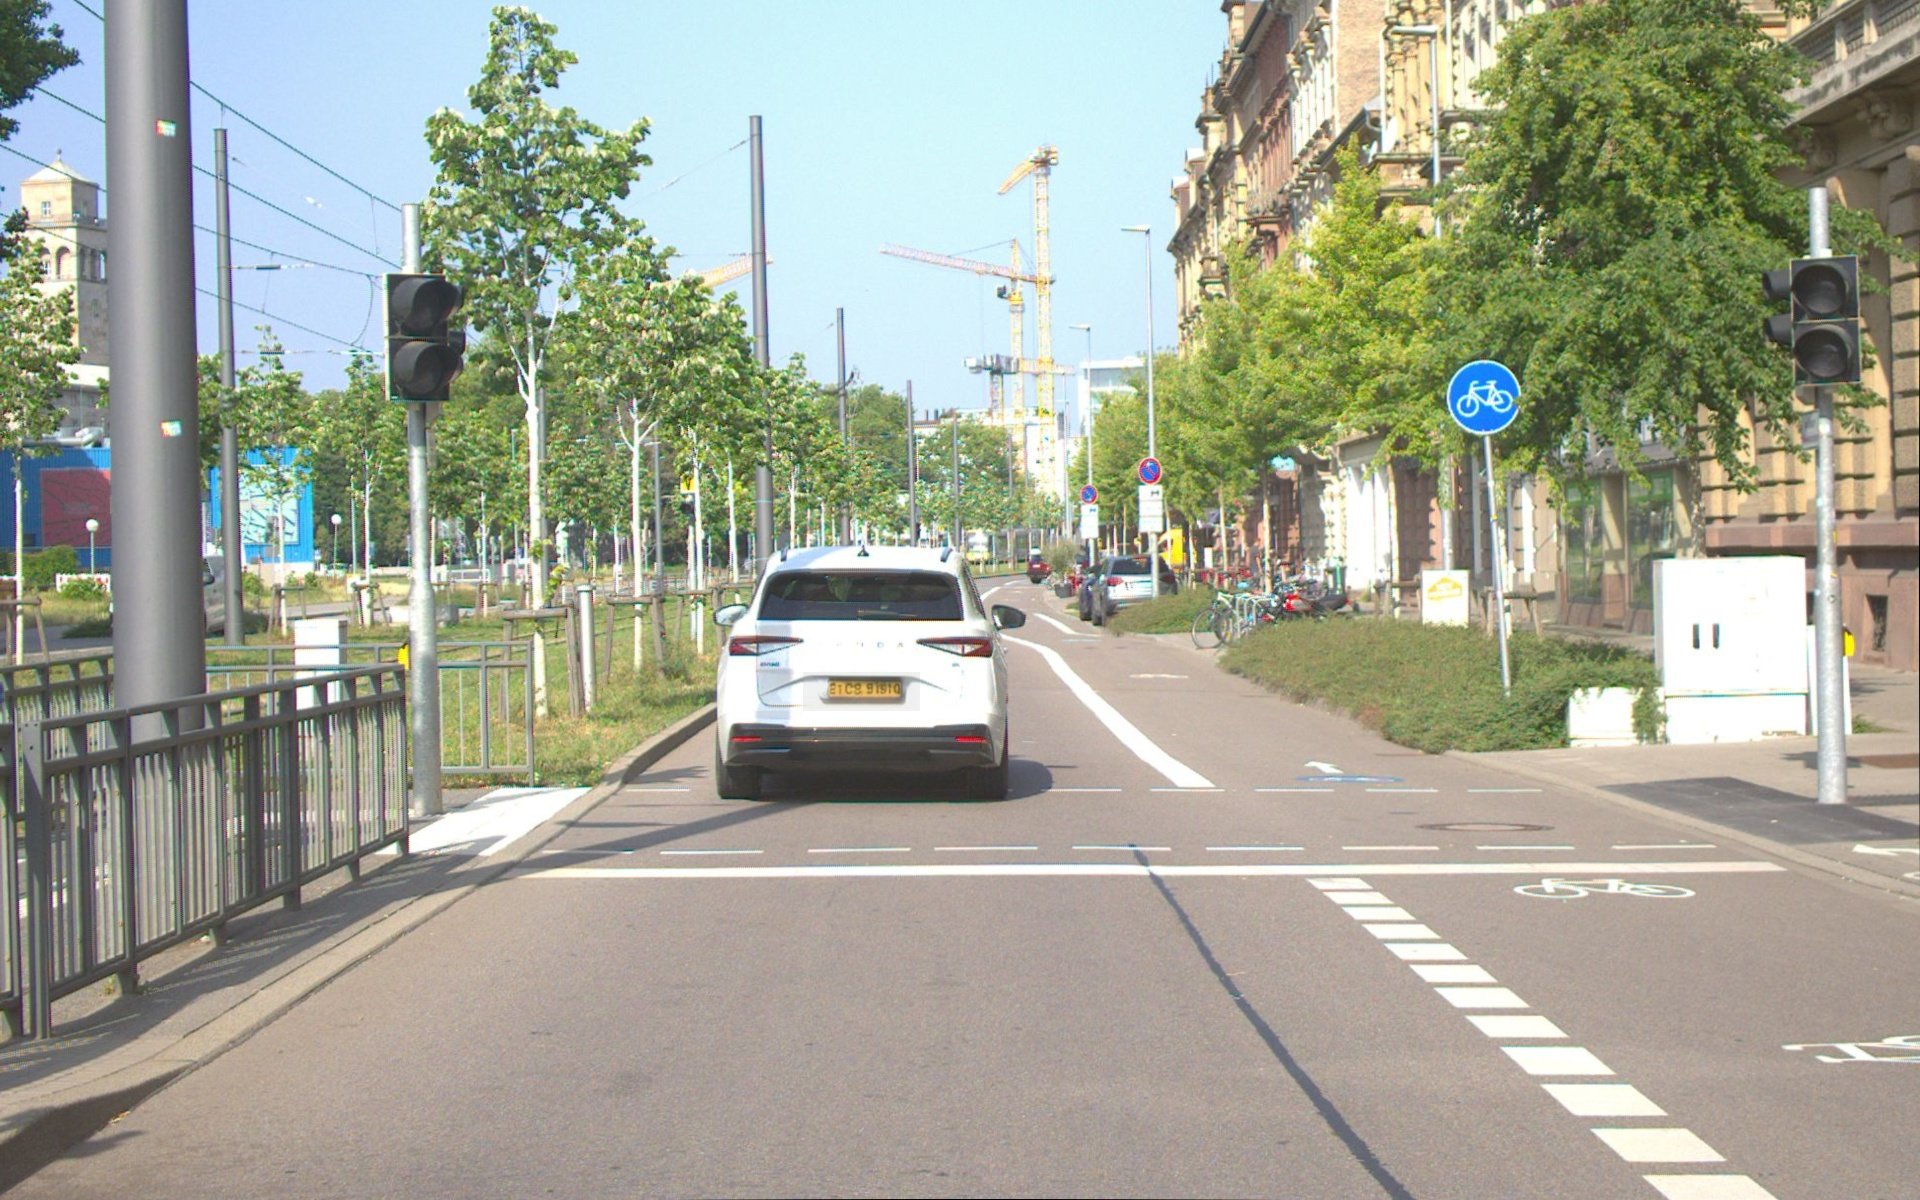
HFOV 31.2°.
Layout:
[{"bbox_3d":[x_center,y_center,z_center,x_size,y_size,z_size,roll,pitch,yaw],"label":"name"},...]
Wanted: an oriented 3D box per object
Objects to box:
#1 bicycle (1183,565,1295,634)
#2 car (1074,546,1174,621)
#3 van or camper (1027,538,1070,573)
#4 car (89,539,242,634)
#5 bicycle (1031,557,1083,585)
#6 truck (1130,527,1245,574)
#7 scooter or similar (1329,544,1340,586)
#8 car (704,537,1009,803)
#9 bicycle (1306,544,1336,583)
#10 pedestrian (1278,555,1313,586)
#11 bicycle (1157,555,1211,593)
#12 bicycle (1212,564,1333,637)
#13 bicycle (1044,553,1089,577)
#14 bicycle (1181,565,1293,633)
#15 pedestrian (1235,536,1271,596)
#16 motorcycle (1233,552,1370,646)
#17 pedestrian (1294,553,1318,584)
[{"bbox_3d":[4.624,-0.014,57.032,1.784,1.050,0.373,-3,1,-1],"label":"bicycle"},{"bbox_3d":[3.712,-0.390,78.338,1.769,1.583,4.248,-2,1,-3],"label":"car"},{"bbox_3d":[4.437,-2.238,172.684,1.993,1.649,4.000,-2,1,0],"label":"van or camper"},{"bbox_3d":[-16.850,-0.317,73.156,1.993,1.888,5.046,-1,1,1],"label":"car"},{"bbox_3d":[4.244,-1.282,150.689,2.239,1.100,0.588,-3,1,2],"label":"bicycle"},{"bbox_3d":[11.791,-2.574,178.274,5.871,2.310,2.220,-1,1,4],"label":"truck"},{"bbox_3d":[10.014,-0.941,91.931,0.289,1.130,1.088,-1,1,6],"label":"scooter or similar"},{"bbox_3d":[-0.617,0.386,22.819,1.817,1.584,4.407,0,1,0],"label":"car"},{"bbox_3d":[10.193,-1.027,97.136,0.450,1.079,1.449,-1,1,-9],"label":"bicycle"},{"bbox_3d":[9.896,-0.867,101.466,0.877,0.873,0.711,-3,1,-3],"label":"pedestrian"},{"bbox_3d":[6.442,-0.751,98.911,0.454,1.078,1.873,-2,-1,42],"label":"bicycle"},{"bbox_3d":[5.058,0.006,55.734,1.806,1.092,0.672,-3,1,-5],"label":"bicycle"},{"bbox_3d":[4.710,-1.555,152.002,1.934,0.983,0.470,-3,1,2],"label":"bicycle"},{"bbox_3d":[4.626,-0.018,57.450,1.784,1.050,0.373,-3,1,-1],"label":"bicycle"},{"bbox_3d":[8.549,-0.991,100.312,0.823,1.691,0.793,-3,1,-4],"label":"pedestrian"},{"bbox_3d":[5.132,-0.020,51.629,2.035,1.282,0.705,-4,2,-35],"label":"motorcycle"},{"bbox_3d":[10.048,-0.911,99.768,0.570,0.852,0.457,-3,1,-5],"label":"pedestrian"}]
